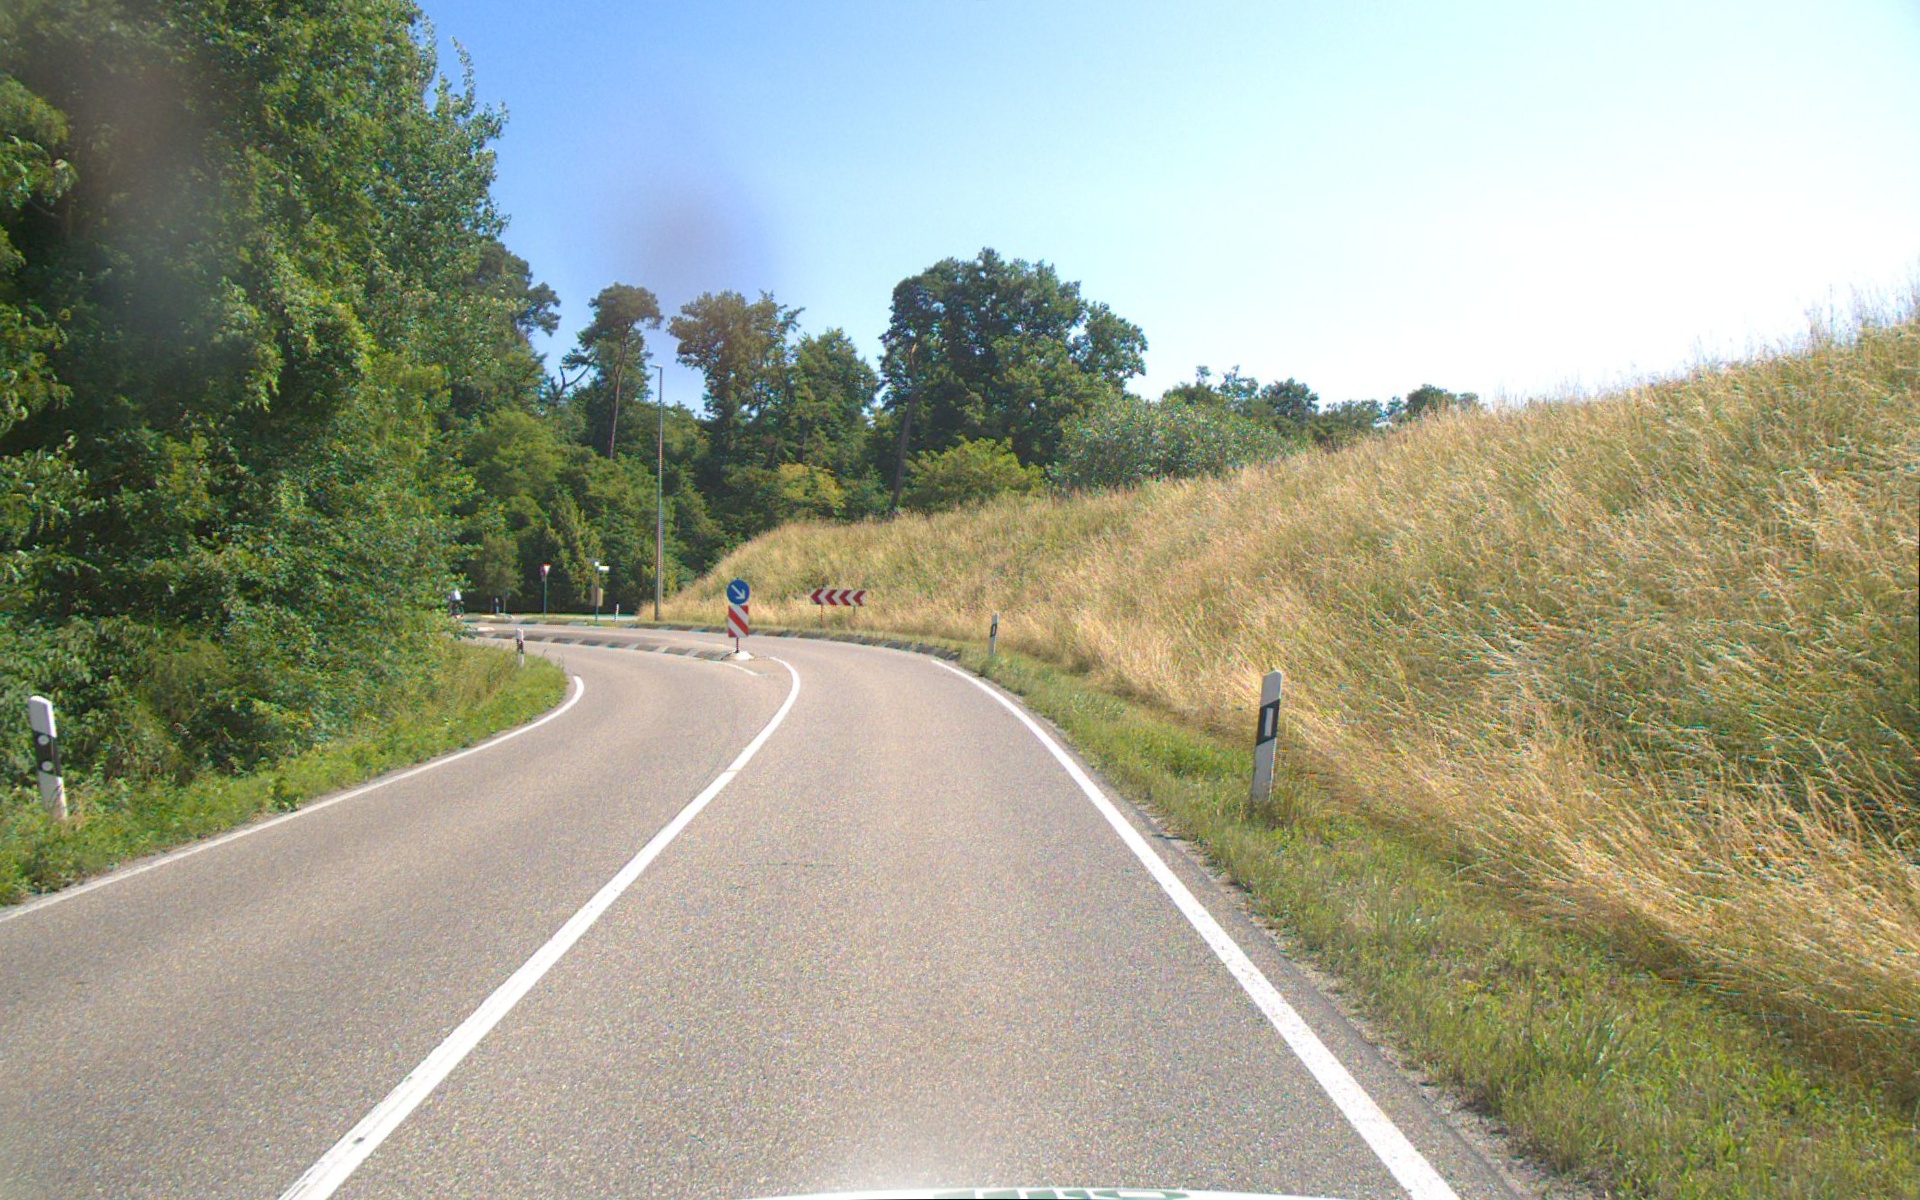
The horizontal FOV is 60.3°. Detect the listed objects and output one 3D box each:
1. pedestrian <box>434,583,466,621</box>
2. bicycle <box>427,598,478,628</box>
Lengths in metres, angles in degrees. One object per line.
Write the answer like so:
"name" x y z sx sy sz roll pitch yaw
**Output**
"pedestrian" -27.714 0.080 89.950 1.119 2.049 1.258 0 0 38
"bicycle" -27.545 0.690 89.712 3.140 1.615 1.180 0 0 41
